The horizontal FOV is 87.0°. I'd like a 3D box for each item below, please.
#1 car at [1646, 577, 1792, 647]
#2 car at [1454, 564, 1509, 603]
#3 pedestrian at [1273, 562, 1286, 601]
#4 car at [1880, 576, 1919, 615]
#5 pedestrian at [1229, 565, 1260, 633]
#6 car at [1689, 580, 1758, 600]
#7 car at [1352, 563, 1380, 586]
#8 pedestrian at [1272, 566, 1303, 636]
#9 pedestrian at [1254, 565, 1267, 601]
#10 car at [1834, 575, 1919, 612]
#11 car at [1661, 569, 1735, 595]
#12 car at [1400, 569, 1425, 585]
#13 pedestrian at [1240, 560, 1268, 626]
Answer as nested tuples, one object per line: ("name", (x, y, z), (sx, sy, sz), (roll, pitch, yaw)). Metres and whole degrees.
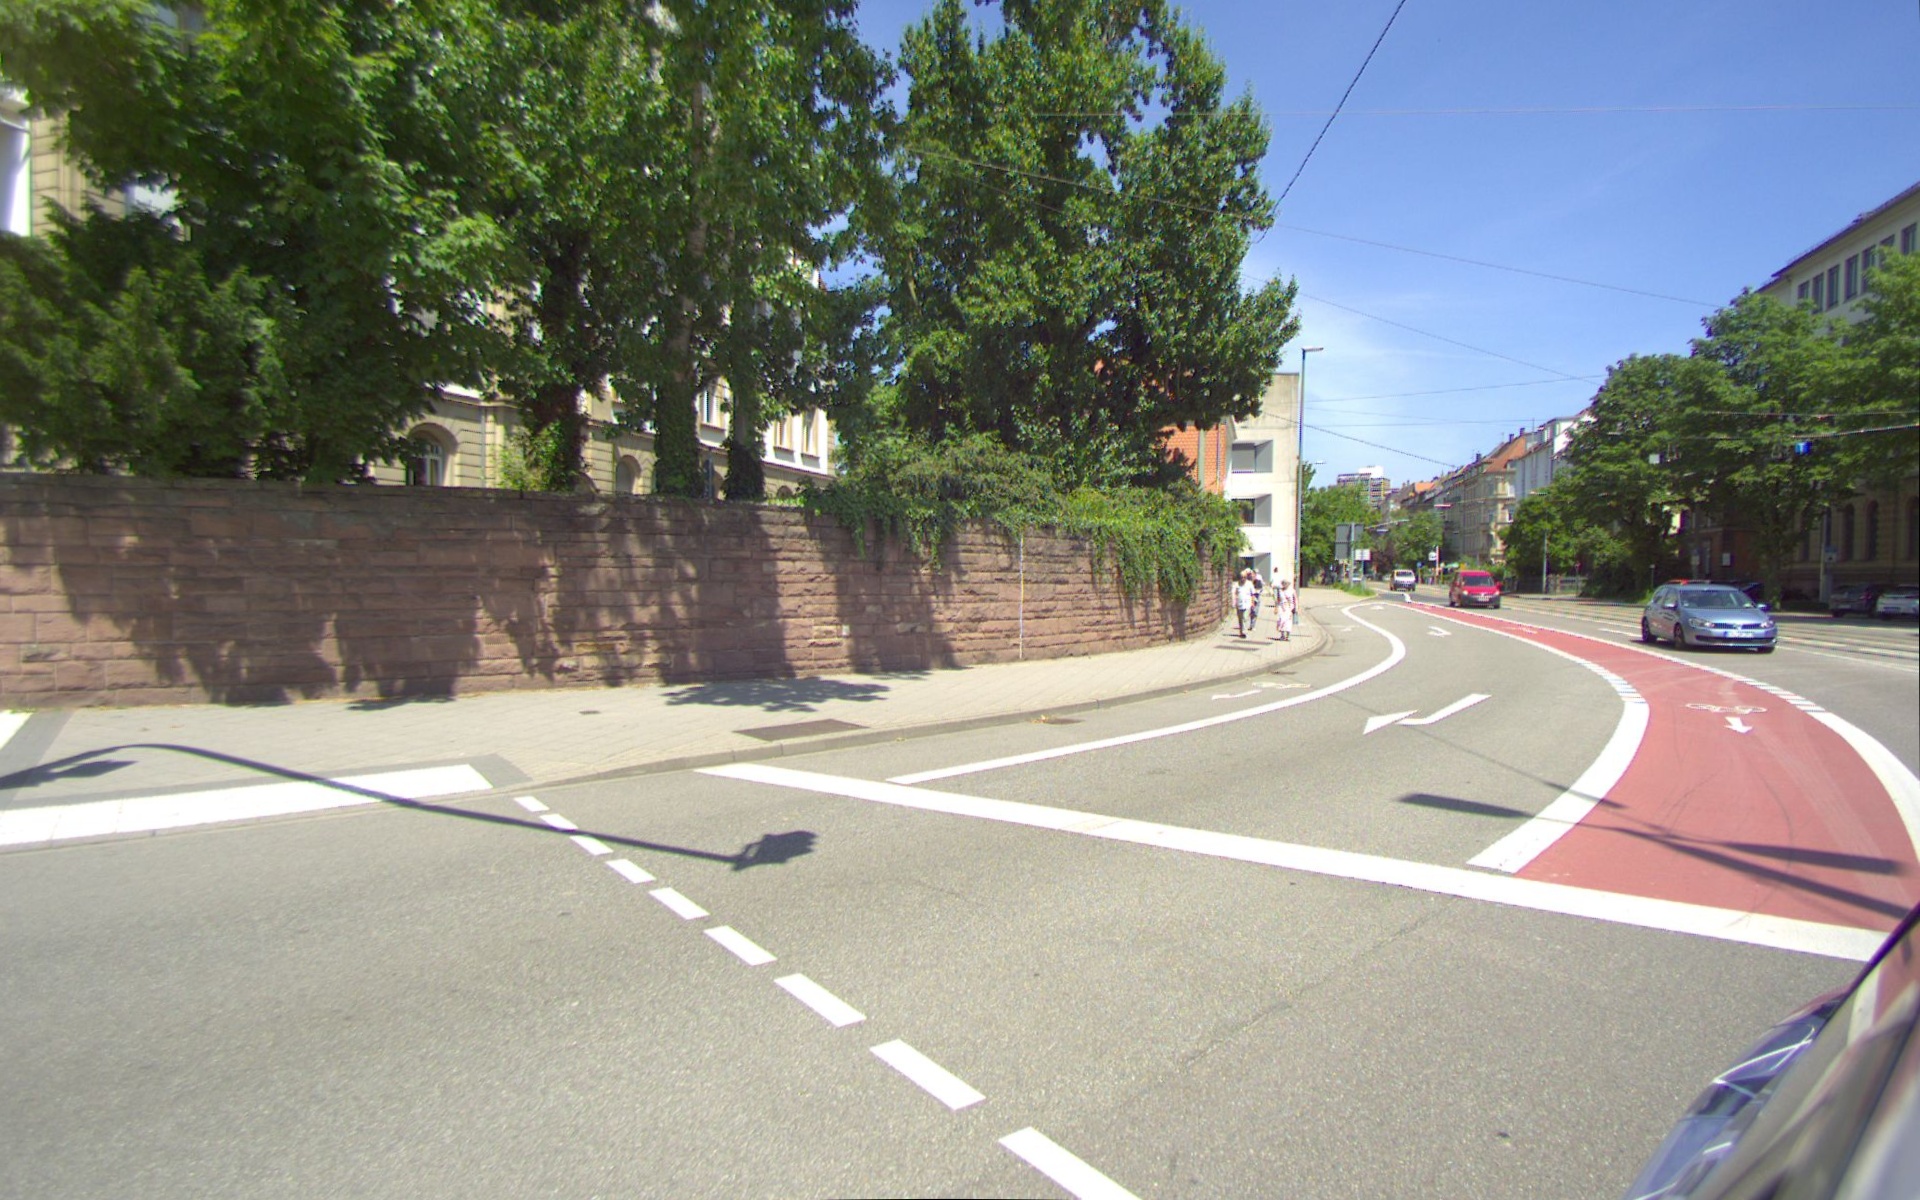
("car", (17.284, 0.202, 23.247), (1.814, 1.432, 3.962), (1, 2, 24))
("car", (25.168, -0.784, 48.977), (1.811, 1.788, 4.250), (-1, 0, 20))
("pedestrian", (14.419, -0.834, 45.683), (0.483, 1.734, 0.517), (3, 1, 20))
("car", (37.787, -0.199, 38.789), (3.486, 1.438, 1.571), (-1, 0, 2))
("pedestrian", (7.001, -0.030, 24.919), (0.597, 1.631, 0.554), (4, 1, 21))
("car", (43.000, -0.560, 57.026), (2.933, 1.113, 1.281), (-1, 0, 0))
("car", (32.054, -2.007, 79.970), (1.794, 1.729, 3.978), (1, 2, 18))
("pedestrian", (7.934, 0.023, 24.496), (0.597, 1.631, 0.554), (4, 1, 21))
("pedestrian", (13.658, -0.770, 45.987), (0.483, 1.625, 0.555), (3, 1, 20))
("car", (38.151, -0.273, 41.553), (3.091, 1.481, 1.571), (-1, 0, 1))
("car", (44.322, -1.087, 60.803), (3.505, 1.471, 1.618), (-1, 0, -10))
("car", (41.951, -2.150, 93.869), (1.811, 1.409, 4.251), (1, 2, 20))
("pedestrian", (8.046, -0.194, 27.680), (0.597, 1.734, 0.555), (3, 1, 20))
